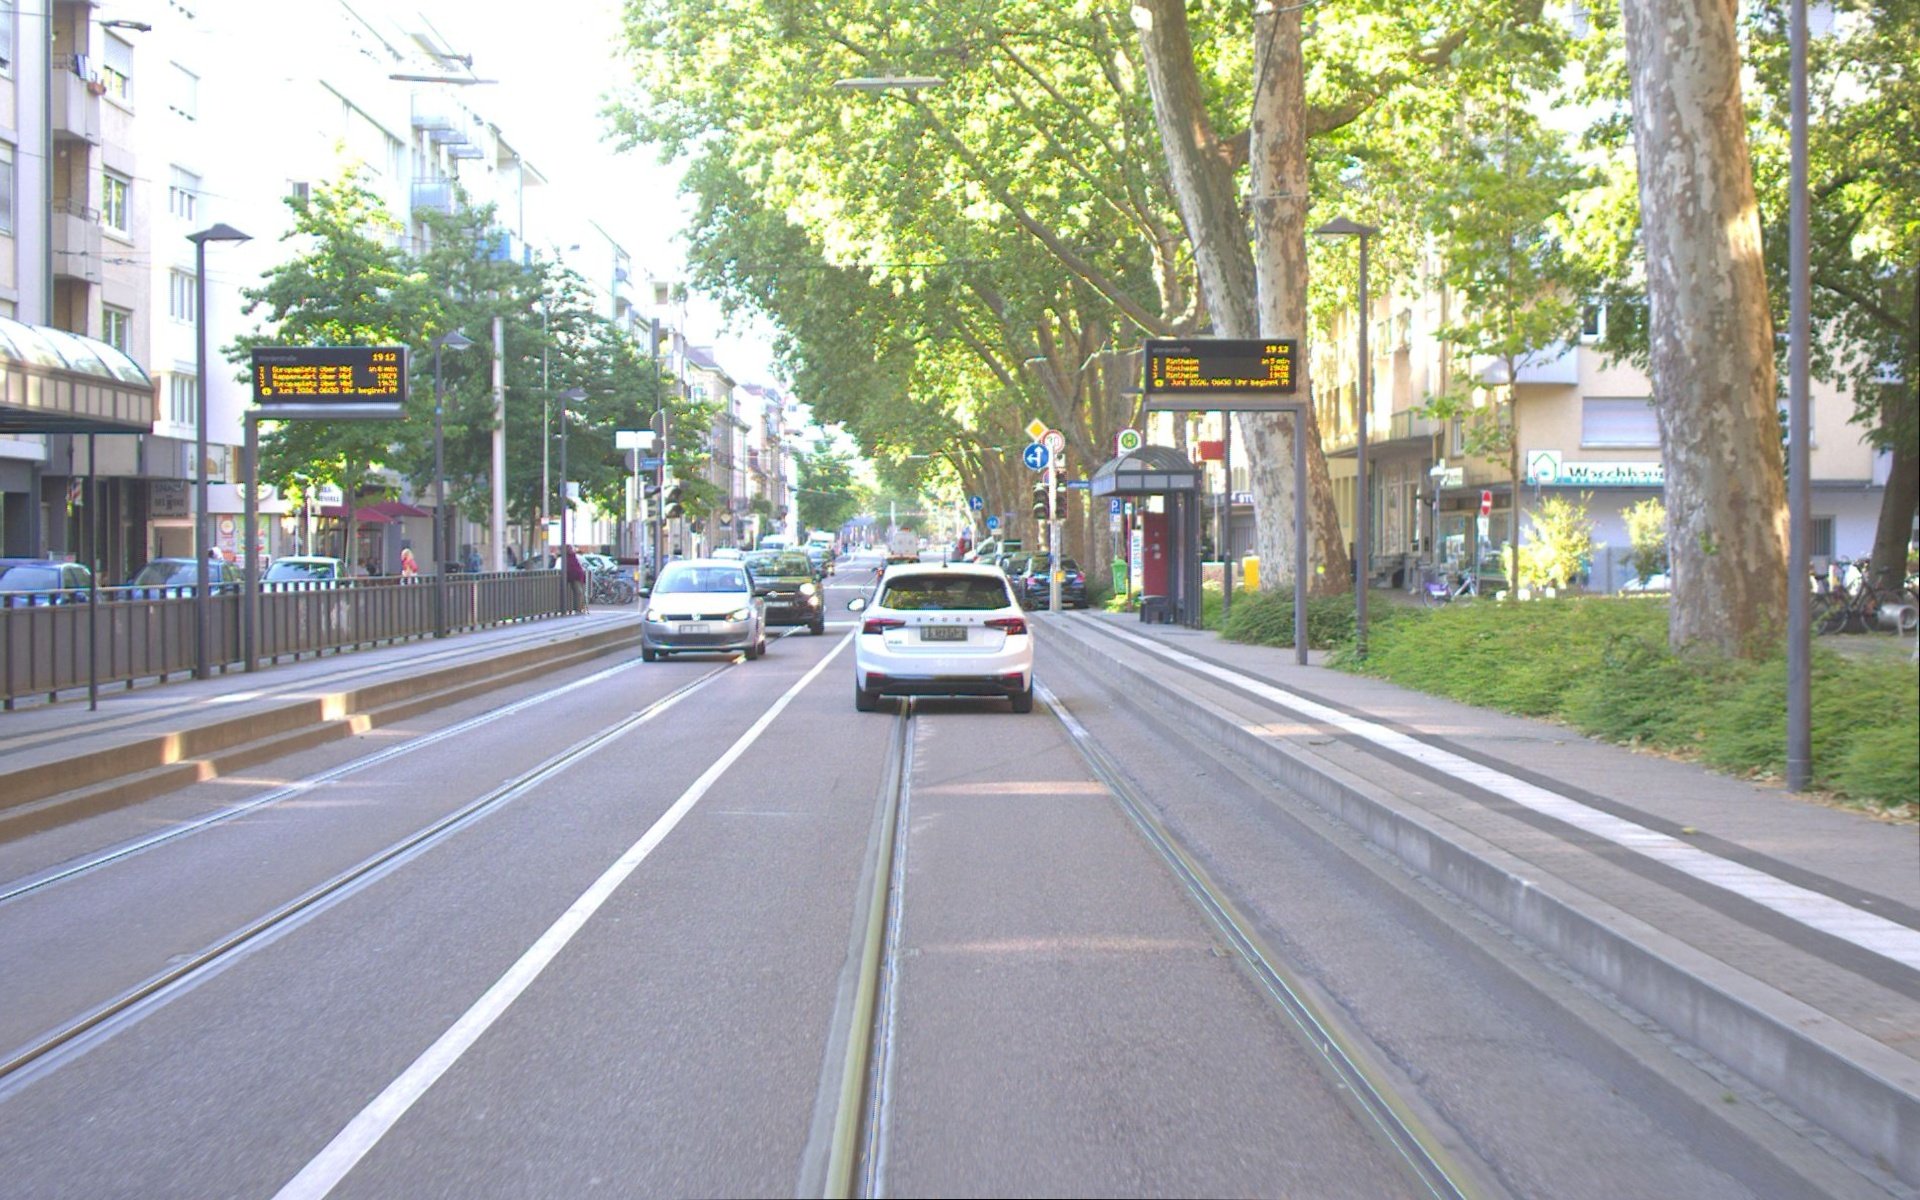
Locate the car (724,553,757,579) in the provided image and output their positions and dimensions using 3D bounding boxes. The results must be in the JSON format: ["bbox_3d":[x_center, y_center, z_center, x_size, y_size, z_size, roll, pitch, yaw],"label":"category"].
[{"bbox_3d":[-12.999,-2.023,203.744,1.788,1.508,4.000,0,1,-1],"label":"car"}]

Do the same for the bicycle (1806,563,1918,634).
[{"bbox_3d":[13.312,-0.024,50.740,1.567,1.034,0.479,0,1,21],"label":"bicycle"}]

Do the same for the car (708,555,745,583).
[{"bbox_3d":[-12.752,-1.713,187.584,1.788,1.508,4.000,0,1,-1],"label":"car"}]

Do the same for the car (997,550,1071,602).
[{"bbox_3d":[2.110,-0.709,98.789,1.993,1.448,4.000,0,1,-1],"label":"car"}]

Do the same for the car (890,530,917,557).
[{"bbox_3d":[-3.929,-3.937,239.630,1.866,1.886,4.000,0,1,-1],"label":"car"}]

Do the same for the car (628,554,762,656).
[{"bbox_3d":[-3.848,0.037,50.390,1.693,1.414,4.000,0,1,-1],"label":"car"}]

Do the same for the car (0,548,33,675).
[{"bbox_3d":[-12.555,0.133,41.607,1.593,1.543,4.000,2,1,-1],"label":"car"}]

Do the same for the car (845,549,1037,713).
[{"bbox_3d":[-0.197,0.257,33.999,1.788,1.508,4.000,0,1,-1],"label":"car"}]

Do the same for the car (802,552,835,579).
[{"bbox_3d":[-8.140,-2.005,198.025,1.788,1.508,4.000,0,1,-1],"label":"car"}]

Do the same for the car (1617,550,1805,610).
[{"bbox_3d":[17.448,-0.480,79.970,3.987,1.368,1.867,0,1,2],"label":"car"}]

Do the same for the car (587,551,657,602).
[{"bbox_3d":[-10.582,-0.751,107.727,1.794,1.505,4.000,2,1,-1],"label":"car"}]

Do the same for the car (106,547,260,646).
[{"bbox_3d":[-12.960,-0.088,57.557,1.678,1.543,4.000,2,1,-1],"label":"car"}]

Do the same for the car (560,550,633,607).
[{"bbox_3d":[-10.495,-0.641,99.359,1.678,1.543,4.000,2,1,-1],"label":"car"}]

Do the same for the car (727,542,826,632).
[{"bbox_3d":[-3.443,-0.269,65.088,1.693,1.638,4.000,0,1,-1],"label":"car"}]

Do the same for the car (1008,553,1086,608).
[{"bbox_3d":[2.346,-0.541,93.704,1.993,1.448,4.000,0,1,-1],"label":"car"}]

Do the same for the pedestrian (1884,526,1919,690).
[{"bbox_3d":[9.860,0.073,34.404,0.972,1.618,0.887,0,1,-1],"label":"pedestrian"}]

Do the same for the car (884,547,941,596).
[{"bbox_3d":[-1.522,-0.924,110.273,1.788,1.508,4.000,0,1,-1],"label":"car"}]

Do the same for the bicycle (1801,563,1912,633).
[{"bbox_3d":[13.470,-0.035,51.655,1.567,1.034,0.504,0,1,21],"label":"bicycle"}]

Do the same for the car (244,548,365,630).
[{"bbox_3d":[-13.218,-0.242,69.503,1.678,1.543,4.000,2,1,-1],"label":"car"}]

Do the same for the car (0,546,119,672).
[{"bbox_3d":[-12.506,0.077,45.855,1.593,1.543,4.000,2,1,-1],"label":"car"}]

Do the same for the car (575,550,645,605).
[{"bbox_3d":[-10.518,-0.697,103.553,1.678,1.543,4.000,2,1,-1],"label":"car"}]

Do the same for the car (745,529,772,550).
[{"bbox_3d":[-14.709,-4.439,251.469,1.788,1.508,4.000,0,1,-1],"label":"car"}]
